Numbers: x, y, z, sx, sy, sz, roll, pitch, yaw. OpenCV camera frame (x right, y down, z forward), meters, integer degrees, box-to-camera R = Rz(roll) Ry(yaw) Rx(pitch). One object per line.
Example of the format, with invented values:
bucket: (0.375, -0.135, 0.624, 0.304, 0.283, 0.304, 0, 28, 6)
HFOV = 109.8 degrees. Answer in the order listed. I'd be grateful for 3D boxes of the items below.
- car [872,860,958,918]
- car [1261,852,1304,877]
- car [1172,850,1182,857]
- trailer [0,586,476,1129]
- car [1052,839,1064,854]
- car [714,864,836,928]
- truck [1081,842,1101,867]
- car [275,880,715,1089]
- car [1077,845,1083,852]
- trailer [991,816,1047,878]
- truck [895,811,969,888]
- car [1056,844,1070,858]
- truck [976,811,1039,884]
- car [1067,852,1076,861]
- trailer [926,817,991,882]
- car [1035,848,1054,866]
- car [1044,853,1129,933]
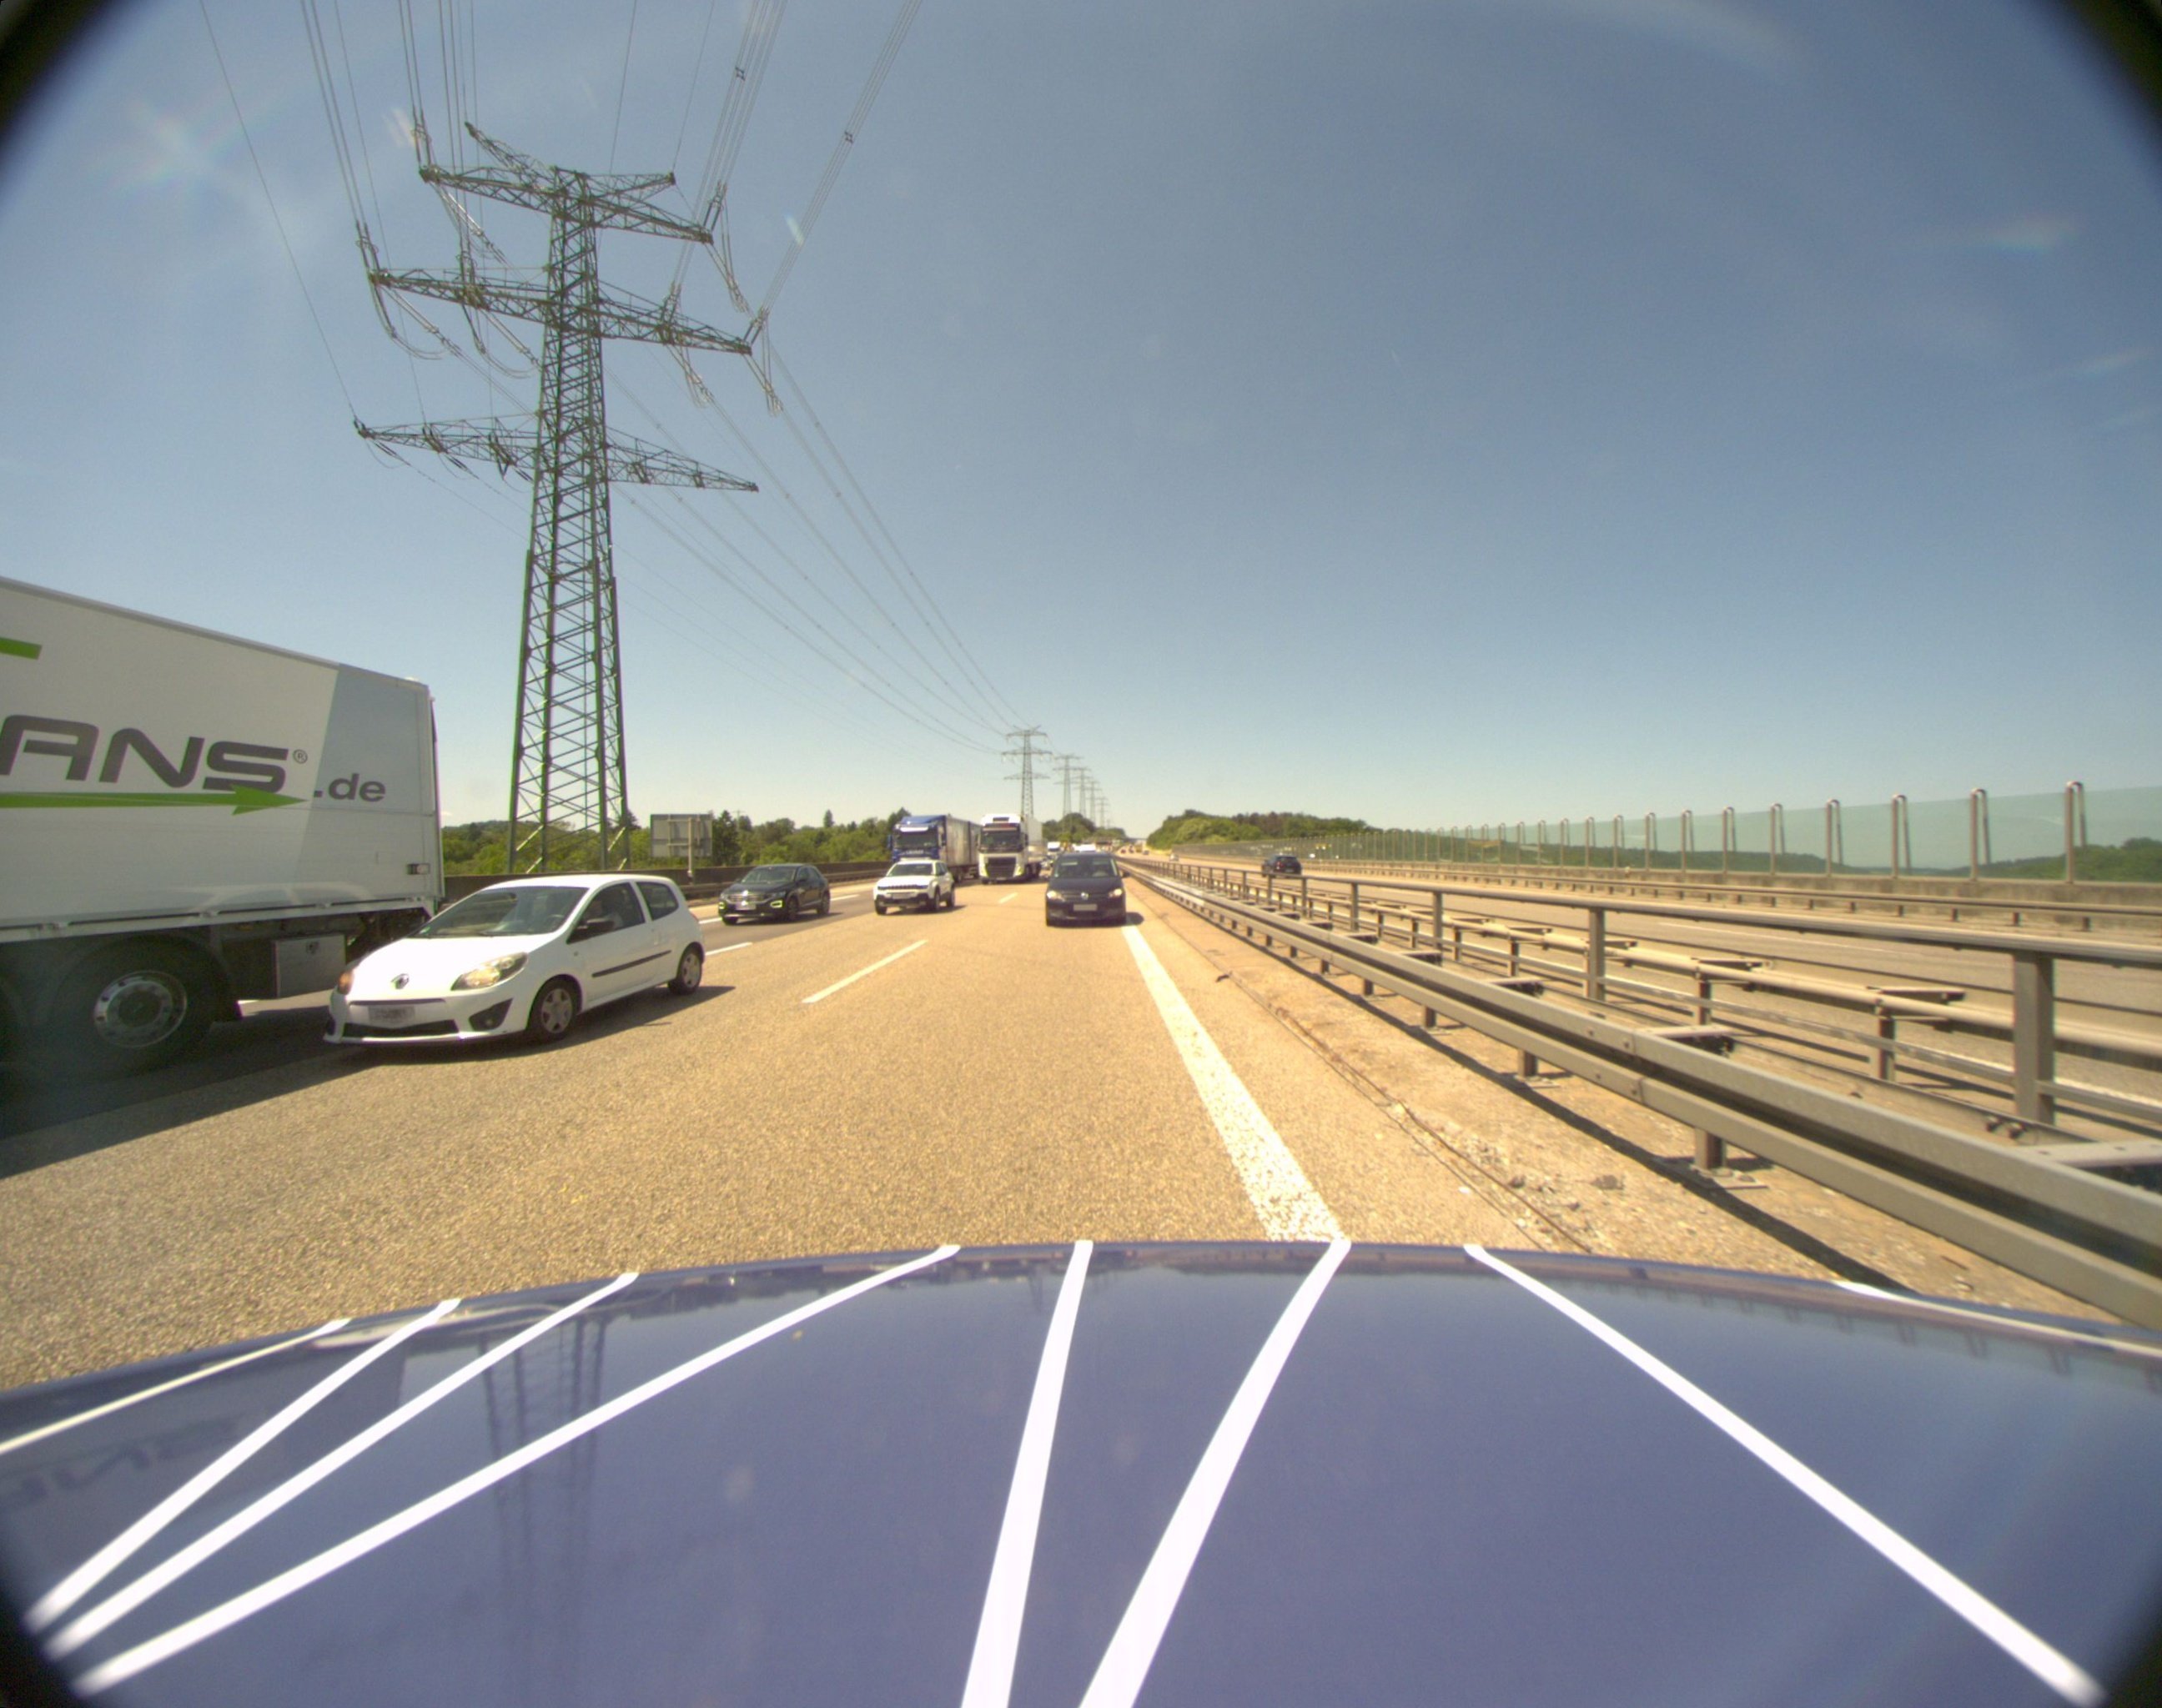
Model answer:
car: (-4.910, 0.982, 22.983, 1.722, 1.526, 3.753, -2, 0, 0)
car: (13.527, 0.689, 51.268, 1.784, 1.560, 4.386, 1, 1, 1)
car: (19.622, -0.131, 155.279, 1.608, 1.386, 3.676, 1, 1, 1)
trailer: (-8.531, 0.060, 4.655, 2.851, 3.573, 8.291, -2, 0, 0)
car: (-4.941, -1.659, 165.423, 2.273, 3.303, 6.288, -2, 1, 0)
car: (-8.300, 1.073, 21.014, 1.709, 1.497, 3.888, -2, 0, 1)
truck: (1.119, 0.019, 86.211, 2.100, 2.700, 5.864, -2, 1, 1)
car: (-5.407, 1.072, 7.697, 1.584, 1.432, 3.629, -2, 0, 0)
car: (-0.249, -1.465, 210.820, 1.781, 2.002, 4.000, 0, 0, 1)
trailer: (-4.161, -0.524, 53.055, 2.898, 3.847, 9.773, -2, 1, 1)
truck: (-8.344, -0.259, 43.535, 2.517, 3.945, 7.926, -2, 0, 0)
car: (-2.759, -0.537, 116.983, 1.998, 2.002, 3.999, -2, 1, 1)
truck: (-4.189, -0.395, 44.766, 2.914, 3.870, 6.739, -2, 1, 0)
car: (-1.840, 0.415, 149.609, 1.701, 1.599, 3.639, -2, 1, 1)
trailer: (-8.306, -0.386, 52.950, 2.543, 3.971, 10.883, -2, 1, 0)
car: (-3.778, 0.265, 79.301, 1.672, 1.761, 3.846, -2, 1, 1)
car: (0.119, 0.821, 17.891, 1.739, 1.607, 3.911, -2, 0, 0)
